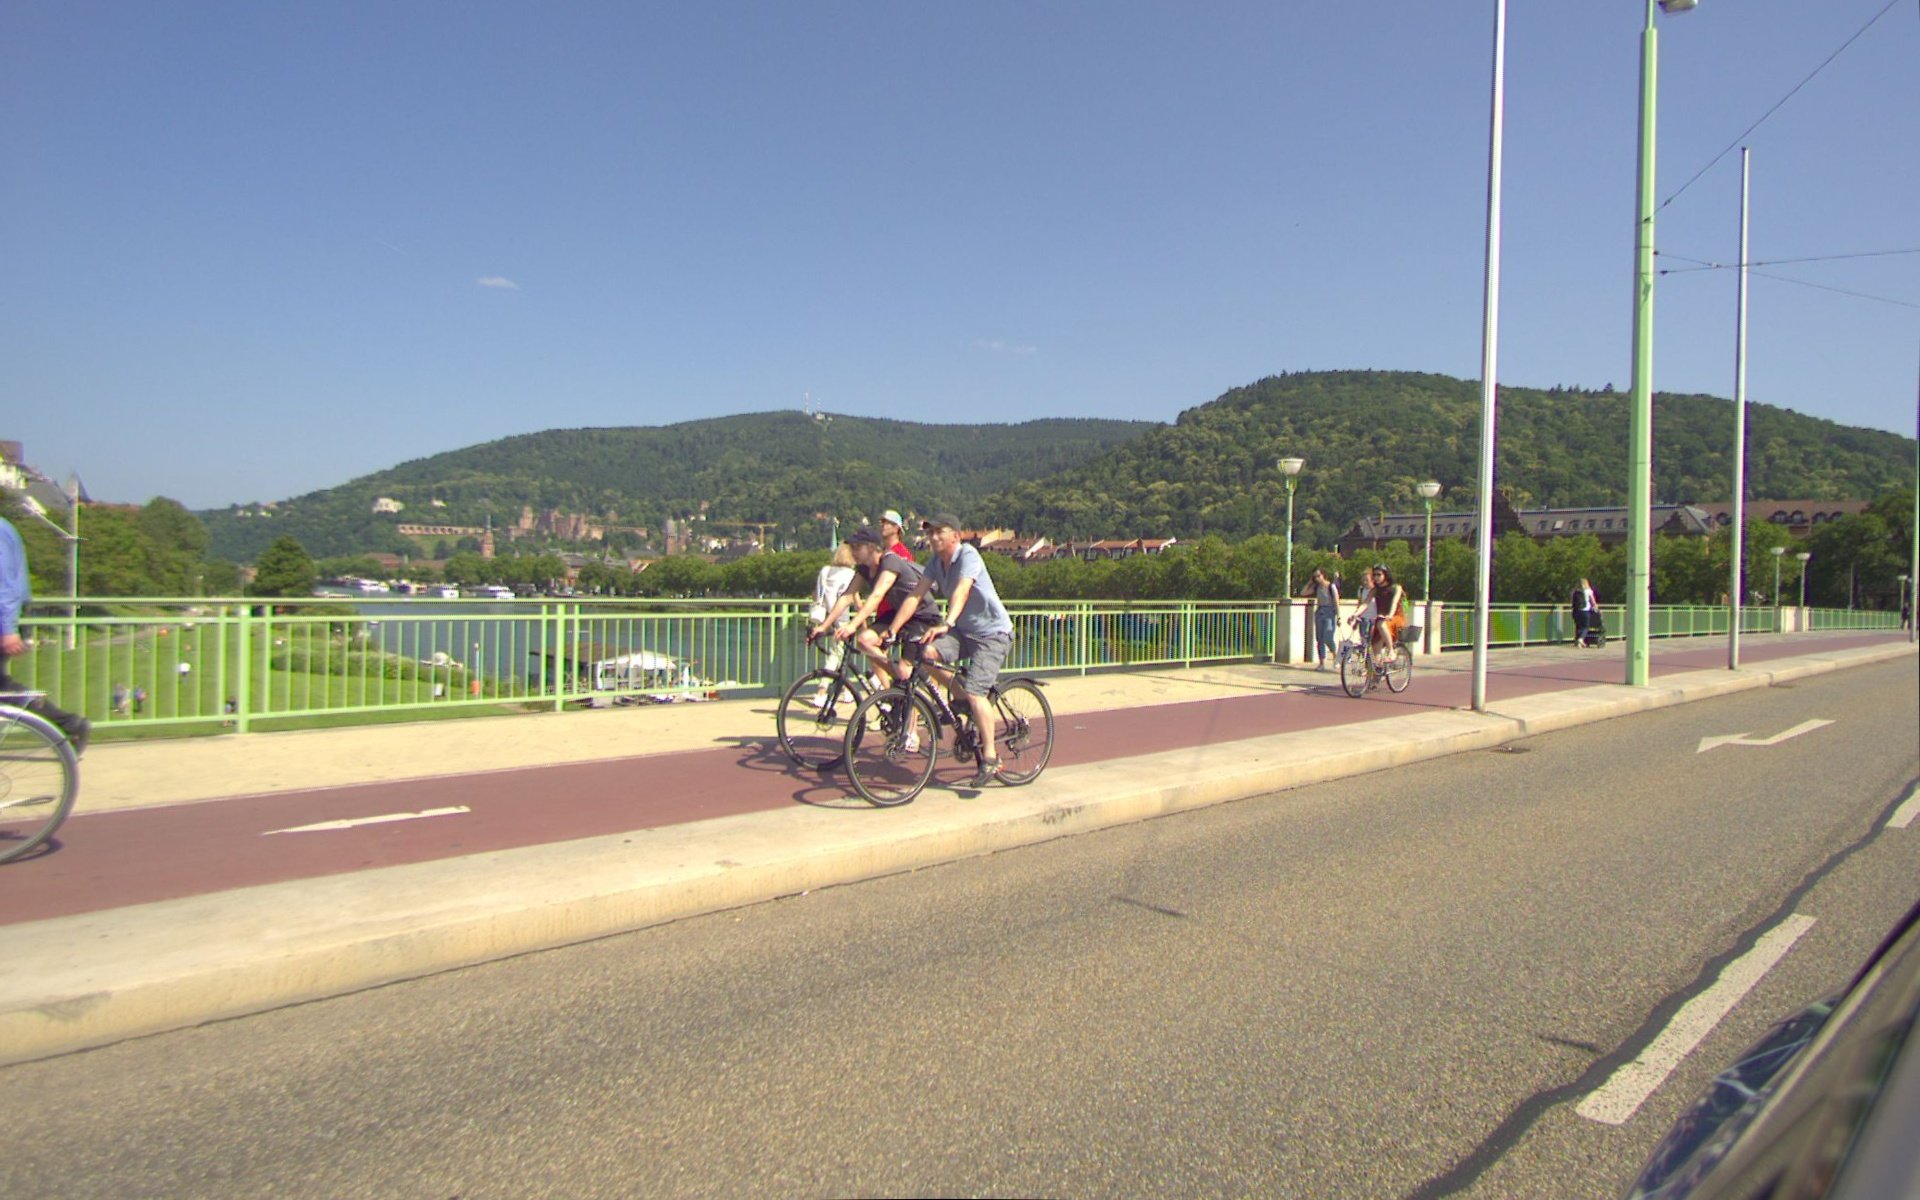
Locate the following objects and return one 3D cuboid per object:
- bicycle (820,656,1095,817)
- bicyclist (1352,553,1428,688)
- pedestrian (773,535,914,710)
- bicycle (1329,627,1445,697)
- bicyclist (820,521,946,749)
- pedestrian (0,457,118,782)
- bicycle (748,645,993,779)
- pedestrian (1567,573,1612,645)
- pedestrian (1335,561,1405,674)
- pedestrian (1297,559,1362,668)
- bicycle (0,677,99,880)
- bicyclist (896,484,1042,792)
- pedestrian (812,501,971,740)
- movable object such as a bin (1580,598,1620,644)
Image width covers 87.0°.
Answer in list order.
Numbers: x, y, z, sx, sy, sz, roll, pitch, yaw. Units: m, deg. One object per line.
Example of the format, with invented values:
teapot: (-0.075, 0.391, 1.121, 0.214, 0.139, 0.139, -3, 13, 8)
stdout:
bicycle: (0.039, 0.806, 6.490, 1.835, 0.775, 0.594, 0, 2, -43)
bicyclist: (5.531, 0.246, 13.007, 0.689, 1.671, 0.606, 0, 2, -39)
pedestrian: (-1.201, 0.191, 10.442, 1.063, 1.683, 0.949, 0, 2, -40)
bicycle: (5.505, 0.770, 13.007, 1.833, 0.775, 0.595, 0, 2, -40)
bicyclist: (-0.566, 0.230, 7.445, 0.690, 1.578, 0.587, 0, 2, -42)
pedestrian: (-5.989, 0.103, 6.311, 1.117, 1.921, 0.927, 0, 1, -40)
bicycle: (-0.608, 0.768, 7.439, 1.800, 0.775, 0.594, 0, 2, -43)
pedestrian: (15.588, 0.203, 25.066, 0.844, 1.727, 0.664, 0, 2, -41)
pedestrian: (6.331, 0.247, 15.612, 0.810, 1.679, 0.664, 0, 2, -41)
pedestrian: (5.903, 0.203, 16.178, 0.733, 1.679, 0.668, 0, 2, -40)
bicycle: (-4.651, 0.774, 4.037, 1.835, 0.775, 0.594, 0, 2, -43)
bicyclist: (0.058, 0.216, 6.486, 0.690, 1.842, 0.587, 0, 2, -42)
pedestrian: (-0.601, 0.151, 8.913, 1.108, 1.948, 0.812, 0, 2, -41)
movable object such as a bin: (16.189, 0.522, 25.605, 0.917, 1.104, 0.583, 0, 2, -41)
